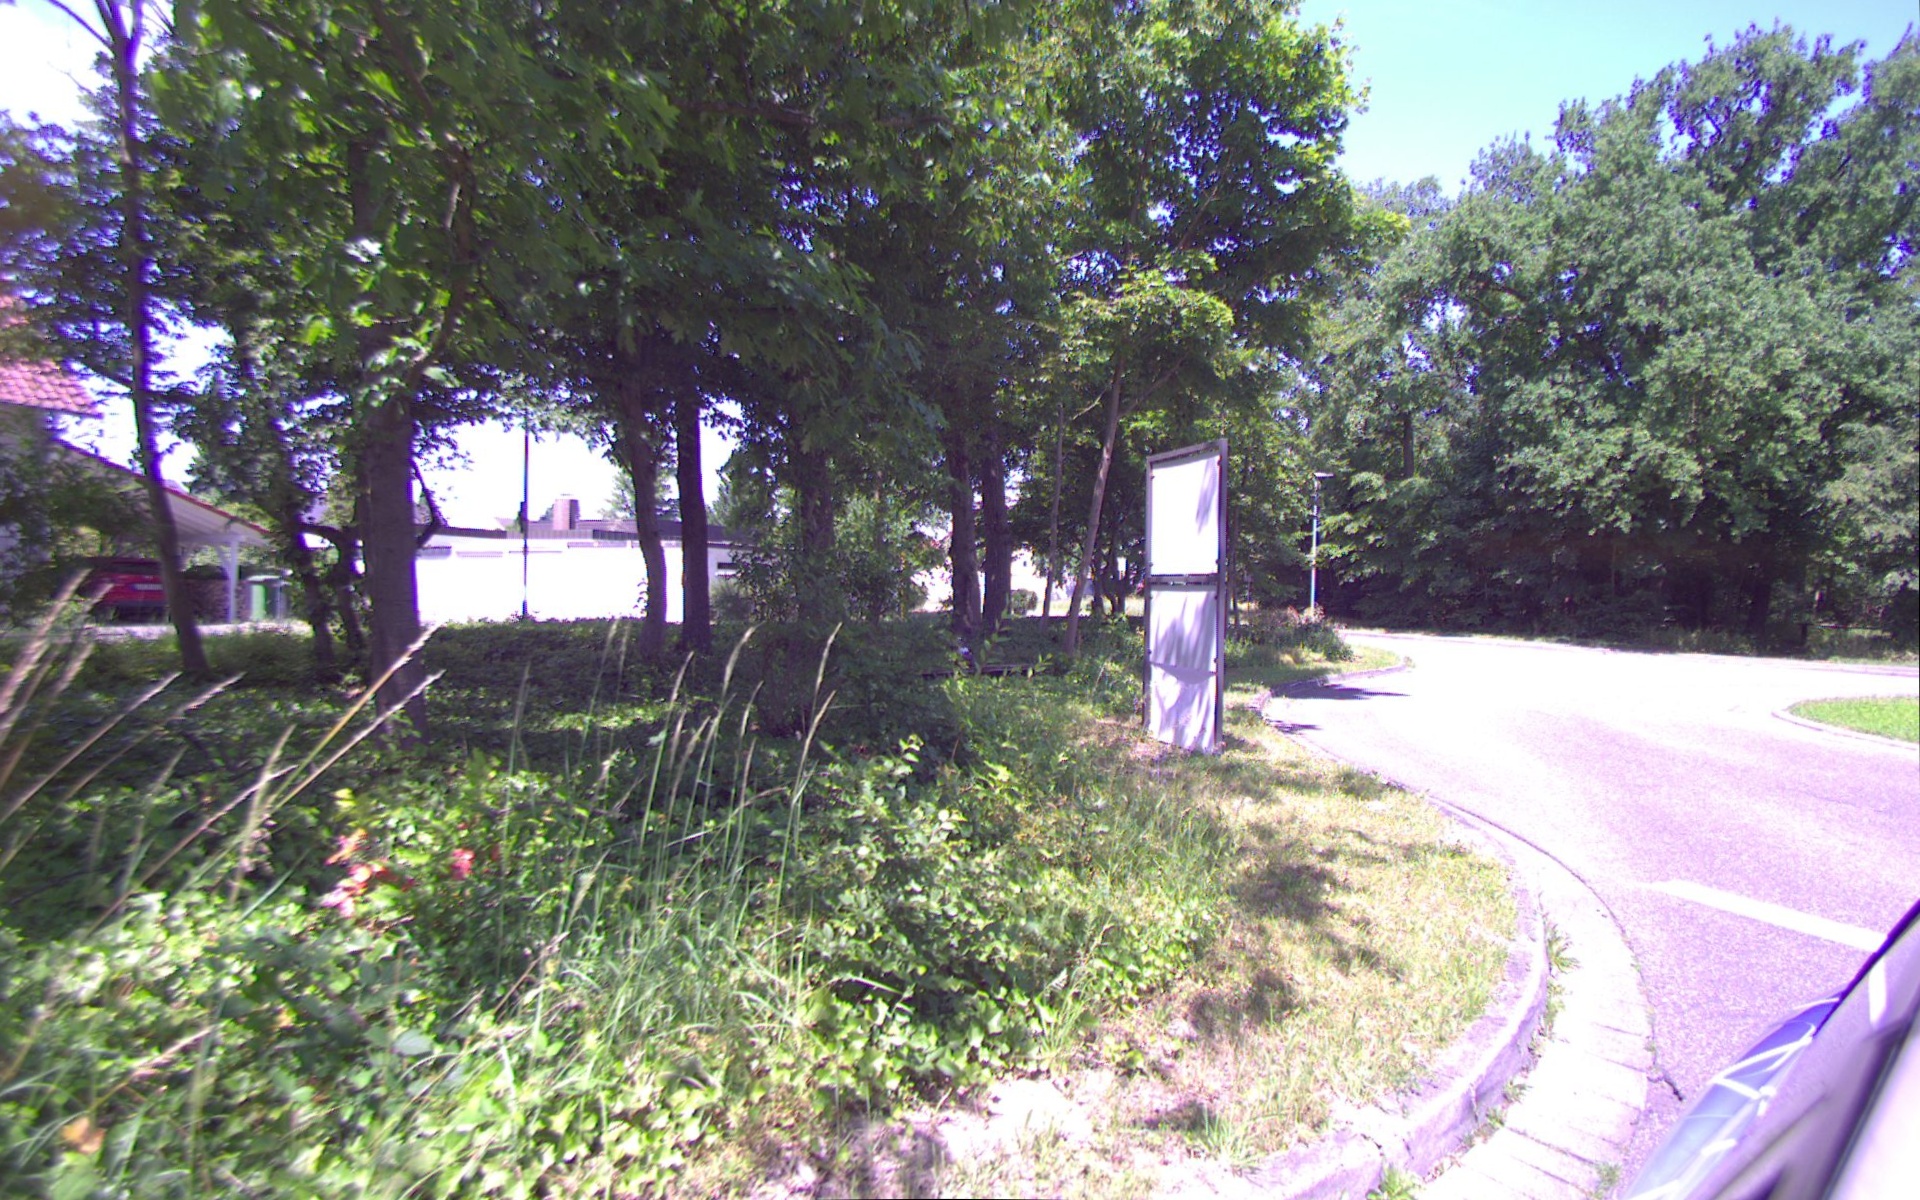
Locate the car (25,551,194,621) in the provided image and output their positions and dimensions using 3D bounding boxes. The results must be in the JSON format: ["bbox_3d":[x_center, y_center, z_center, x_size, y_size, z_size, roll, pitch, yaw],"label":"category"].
[{"bbox_3d":[-18.995,-0.328,22.586,3.660,1.403,1.668,2,1,29],"label":"car"}]

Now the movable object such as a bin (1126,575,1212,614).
[{"bbox_3d":[13.149,-0.410,64.022,2.472,2.305,5.248,2,1,-27],"label":"movable object such as a bin"}]

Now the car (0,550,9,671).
[{"bbox_3d":[-15.250,0.130,12.993,1.648,1.726,4.109,1,0,24],"label":"car"}]
